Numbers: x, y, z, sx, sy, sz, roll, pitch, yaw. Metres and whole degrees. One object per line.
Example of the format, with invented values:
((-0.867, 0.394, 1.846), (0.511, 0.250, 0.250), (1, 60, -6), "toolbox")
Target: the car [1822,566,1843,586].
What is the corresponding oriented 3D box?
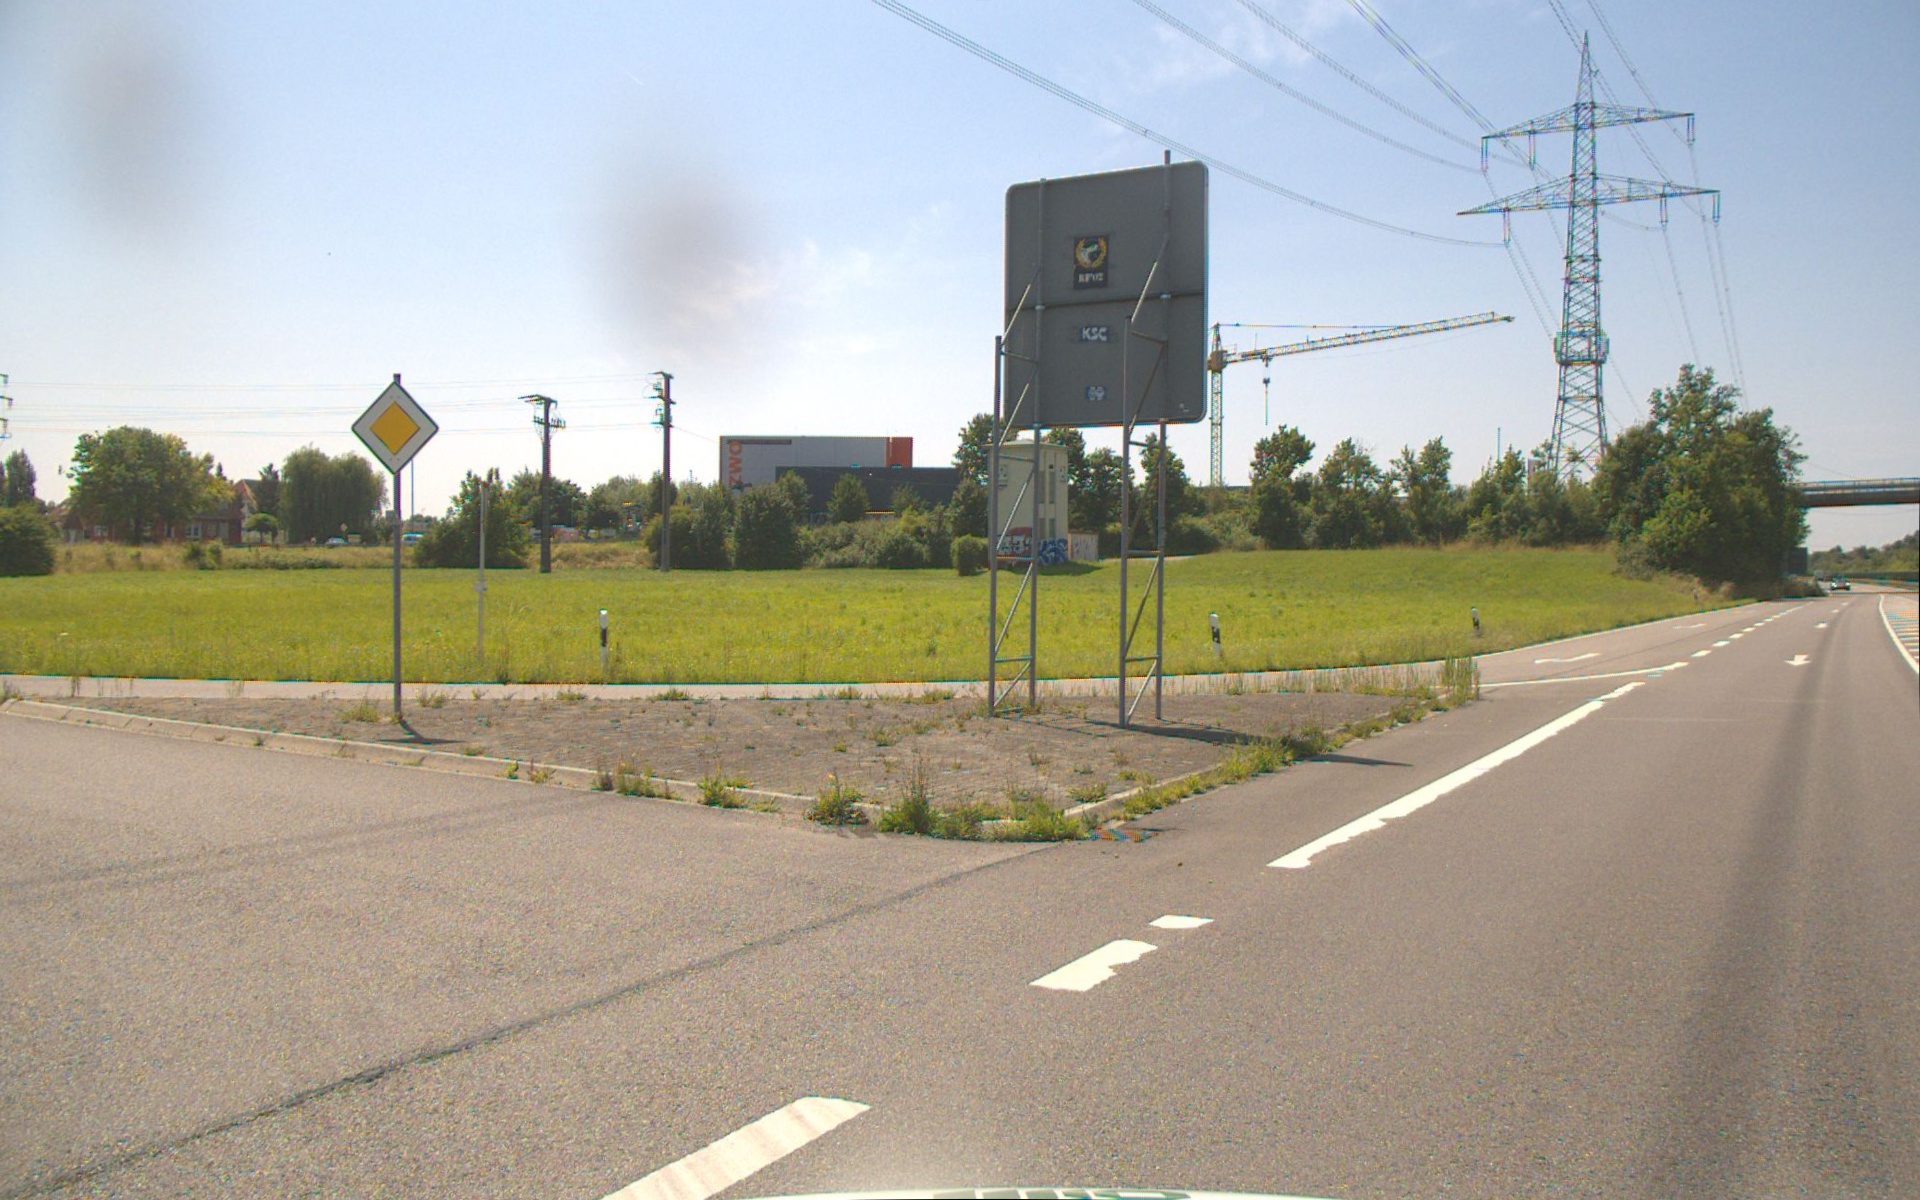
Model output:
((95.211, -2.624, 180.587), (1.955, 2.048, 3.995), (1, 1, 27), "car")
